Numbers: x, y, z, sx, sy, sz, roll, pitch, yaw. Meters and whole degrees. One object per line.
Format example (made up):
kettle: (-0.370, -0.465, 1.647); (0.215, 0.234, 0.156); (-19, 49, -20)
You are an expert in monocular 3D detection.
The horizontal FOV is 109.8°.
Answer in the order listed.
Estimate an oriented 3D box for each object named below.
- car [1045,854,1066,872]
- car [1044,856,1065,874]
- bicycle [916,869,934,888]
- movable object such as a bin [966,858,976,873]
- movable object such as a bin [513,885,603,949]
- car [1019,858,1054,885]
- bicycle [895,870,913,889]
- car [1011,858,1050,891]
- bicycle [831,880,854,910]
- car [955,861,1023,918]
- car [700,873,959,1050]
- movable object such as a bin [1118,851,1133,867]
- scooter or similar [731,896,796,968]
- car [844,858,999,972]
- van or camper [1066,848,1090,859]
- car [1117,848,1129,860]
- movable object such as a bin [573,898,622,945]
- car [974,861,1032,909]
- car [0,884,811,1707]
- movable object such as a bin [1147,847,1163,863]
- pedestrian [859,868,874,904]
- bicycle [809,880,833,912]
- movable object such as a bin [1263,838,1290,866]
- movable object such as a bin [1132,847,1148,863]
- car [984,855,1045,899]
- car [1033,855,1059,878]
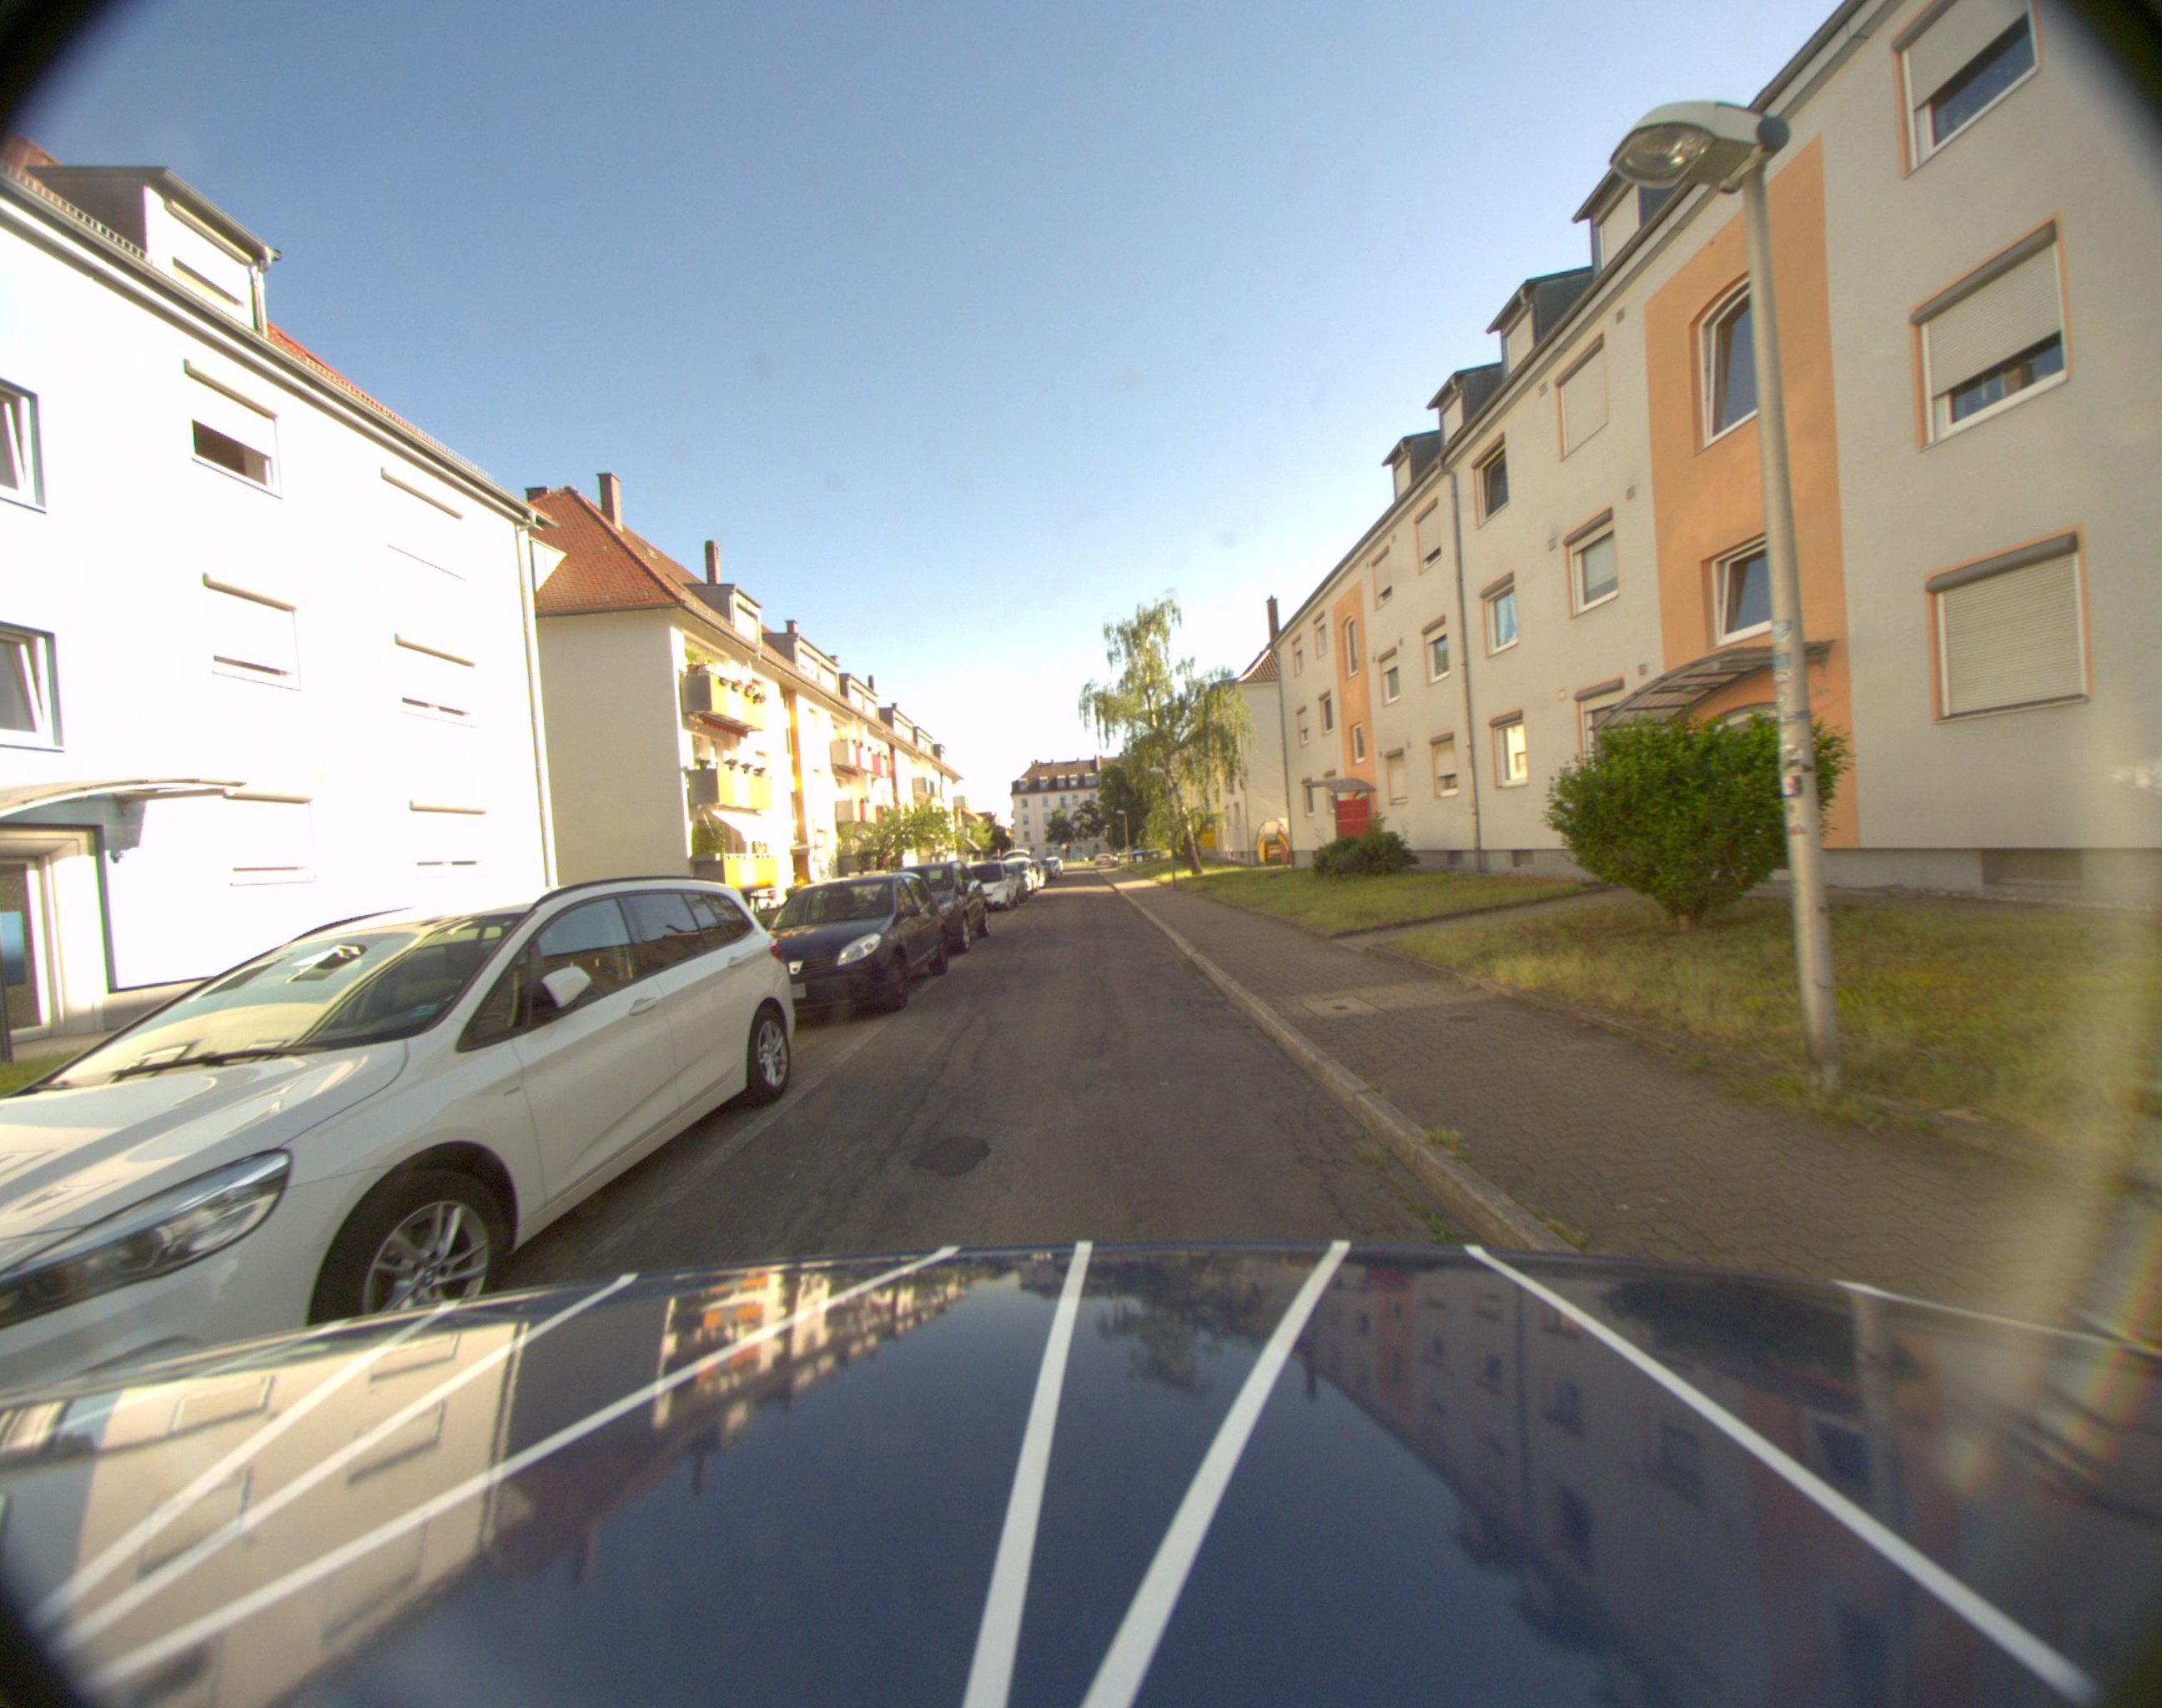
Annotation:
car: (-2.494, 0.872, 75.834); (1.805, 1.583, 4.581); (-5, 0, -1)
car: (-2.433, 0.999, 70.523); (1.695, 1.410, 4.097); (-6, 0, -1)
bicycle: (-9.547, 1.505, 46.547); (0.521, 1.043, 2.288); (-2, 0, 1)
movable object such as a bin: (-12.240, 1.282, 84.743); (0.866, 1.511, 0.922); (-3, 1, -1)
movable object such as a bin: (-12.898, 1.542, 18.784); (1.331, 1.399, 1.106); (-2, 3, 1)
car: (-2.815, 1.074, 48.503); (1.650, 1.441, 4.061); (-6, 0, 3)
bicycle: (-10.865, 1.547, 46.681); (0.521, 1.031, 1.975); (-3, 0, 1)
car: (-2.625, 1.028, 40.283); (1.777, 1.496, 4.479); (-5, 0, -2)
bicycle: (-9.100, 1.557, 29.001); (0.404, 1.080, 1.299); (-3, 0, 1)
car: (-2.921, 1.102, 24.686); (1.483, 1.520, 2.941); (-6, 0, 4)
car: (-2.760, 1.090, 9.410); (1.646, 1.490, 4.156); (-4, 0, 1)
movable object such as a bin: (4.505, 0.497, 77.187); (1.318, 1.451, 1.198); (-8, 1, 0)
scooter or similar: (-5.749, 1.387, 13.842); (0.485, 1.142, 1.589); (-1, 0, 1)
car: (-2.819, 1.008, 14.507); (1.787, 1.638, 4.468); (-5, 0, 1)
van or camper: (-0.611, -0.153, 142.818); (4.355, 1.852, 1.999); (-3, 1, -2)
car: (6.115, 0.001, 110.225); (1.678, 1.645, 3.305); (-3, 0, 4)
movable object such as a bin: (-11.893, 1.658, 18.701); (0.644, 1.029, 0.757); (-2, 3, 1)
car: (-2.893, 1.120, 28.957); (1.698, 1.482, 3.984); (-6, 0, -1)
car: (-2.950, 1.091, 3.560); (1.695, 1.566, 4.434); (-5, 0, -1)
movable object such as a bin: (7.527, 0.069, 77.273); (1.363, 1.445, 1.072); (-8, 1, 0)
pedestrian: (-9.108, 1.354, 32.258); (0.451, 1.487, 0.360); (-3, 2, 1)
bicycle: (-10.001, 1.599, 29.222); (0.404, 1.126, 1.273); (-4, 0, 1)
movable object such as a bin: (10.097, -0.106, 39.305); (1.087, 1.398, 0.812); (-5, 1, 1)
movable object such as a bin: (5.965, 0.137, 77.248); (1.358, 1.451, 1.082); (-8, 1, 0)
car: (-2.899, 0.973, 34.279); (1.998, 1.603, 4.995); (-6, 0, 2)
car: (-2.632, 0.962, 58.453); (1.717, 1.501, 3.853); (-7, 0, -1)
